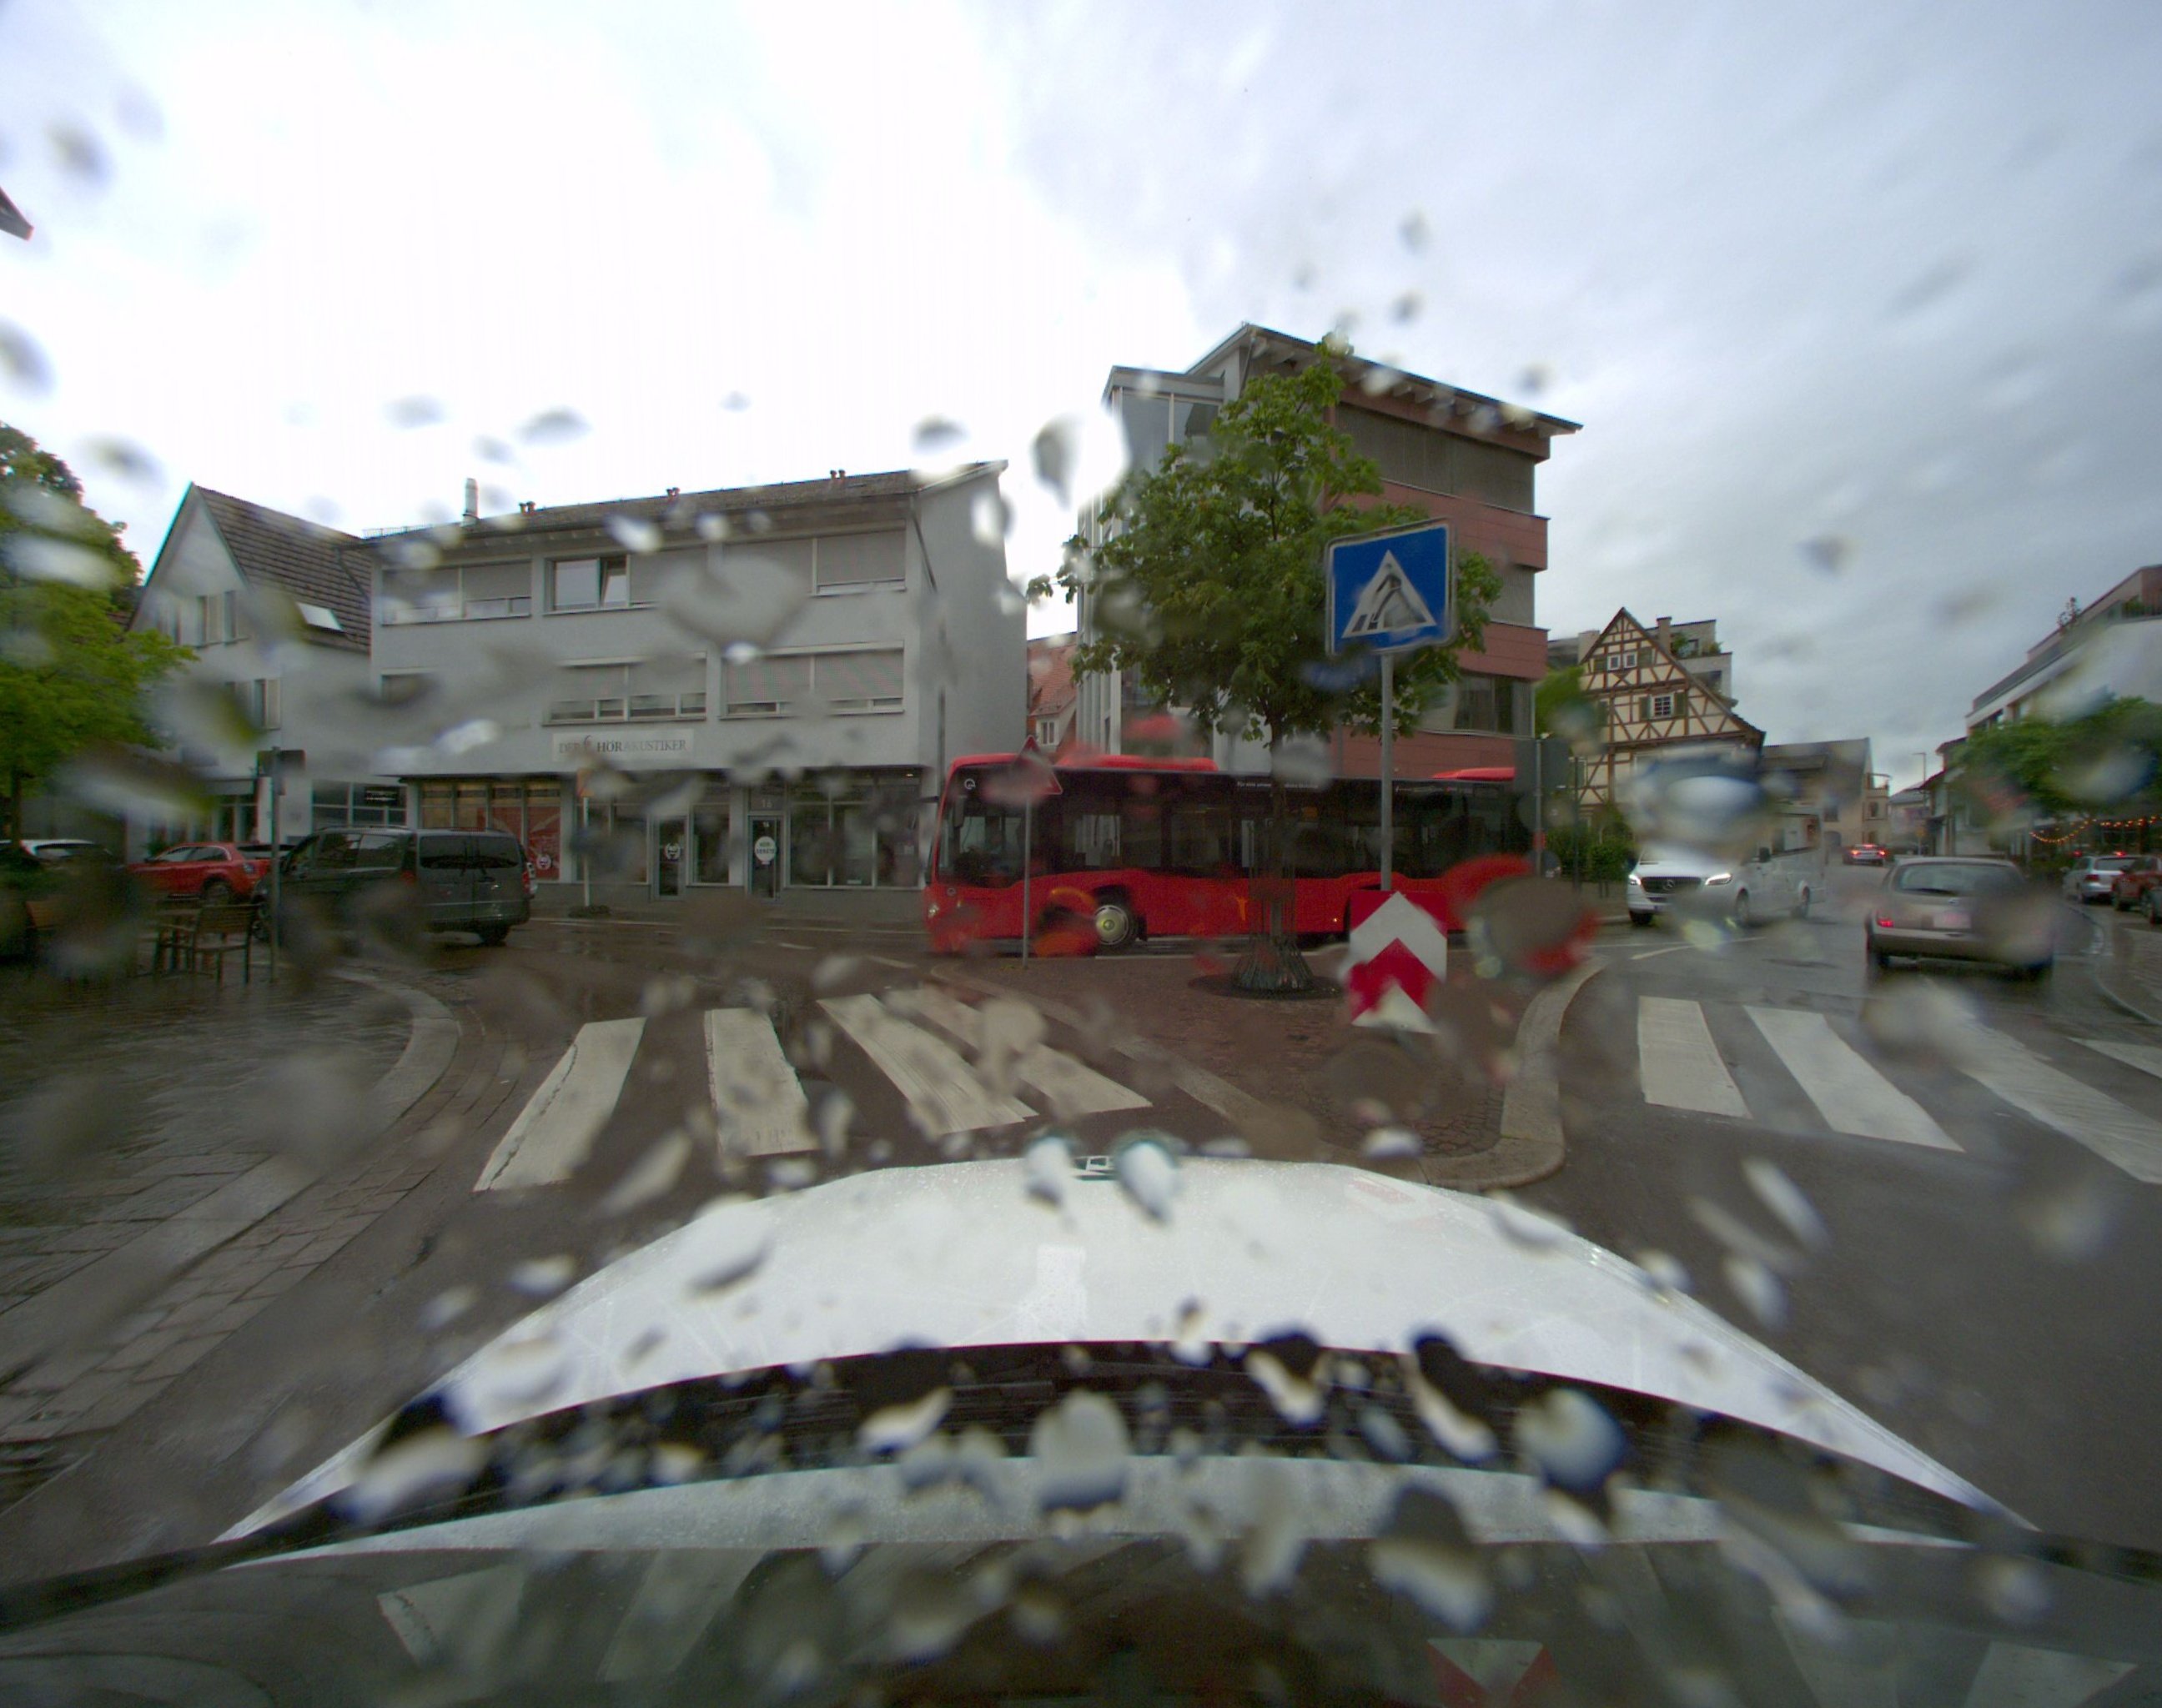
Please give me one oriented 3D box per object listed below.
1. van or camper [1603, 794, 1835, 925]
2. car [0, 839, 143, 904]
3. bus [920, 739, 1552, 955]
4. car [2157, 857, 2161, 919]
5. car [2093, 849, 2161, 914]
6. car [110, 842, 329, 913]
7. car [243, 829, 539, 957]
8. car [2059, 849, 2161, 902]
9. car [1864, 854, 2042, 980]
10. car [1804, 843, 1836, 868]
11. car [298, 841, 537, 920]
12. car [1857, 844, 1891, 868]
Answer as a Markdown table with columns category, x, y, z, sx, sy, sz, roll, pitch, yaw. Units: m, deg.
| category | x | y | z | sx | sy | sz | roll | pitch | yaw |
| --- | --- | --- | --- | --- | --- | --- | --- | --- | --- |
| van or camper | 15.005 | 0.104 | 18.971 | 6.779 | 2.585 | 2.419 | 0 | 0 | -35 |
| car | -25.751 | 0.420 | 19.991 | 3.825 | 1.496 | 1.805 | 0 | -1 | 10 |
| bus | 2.603 | -0.074 | 14.185 | 10.581 | 3.089 | 2.810 | 0 | -1 | -13 |
| car | 23.433 | 0.748 | 16.554 | 3.392 | 1.362 | 1.523 | 1 | -1 | -43 |
| car | 27.372 | 0.637 | 20.465 | 1.608 | 1.501 | 4.025 | -4 | -2 | 40 |
| car | -20.025 | 0.498 | 18.993 | 3.763 | 1.528 | 1.687 | 1 | 1 | 10 |
| car | -11.517 | 0.518 | 13.574 | 4.669 | 1.780 | 1.964 | 2 | 1 | 25 |
| car | 30.872 | 0.618 | 24.405 | 4.023 | 1.413 | 1.601 | -1 | -2 | -45 |
| car | 12.086 | 0.755 | 11.371 | 3.360 | 1.471 | 1.508 | 0 | 0 | -44 |
| car | 52.343 | 0.122 | 57.748 | 1.571 | 1.713 | 3.341 | 0 | -1 | 40 |
| car | -14.731 | 0.535 | 18.179 | 4.189 | 1.612 | 1.697 | 1 | 1 | 7 |
| car | 56.615 | 0.144 | 58.185 | 1.659 | 1.713 | 3.341 | 0 | -1 | 43 |
